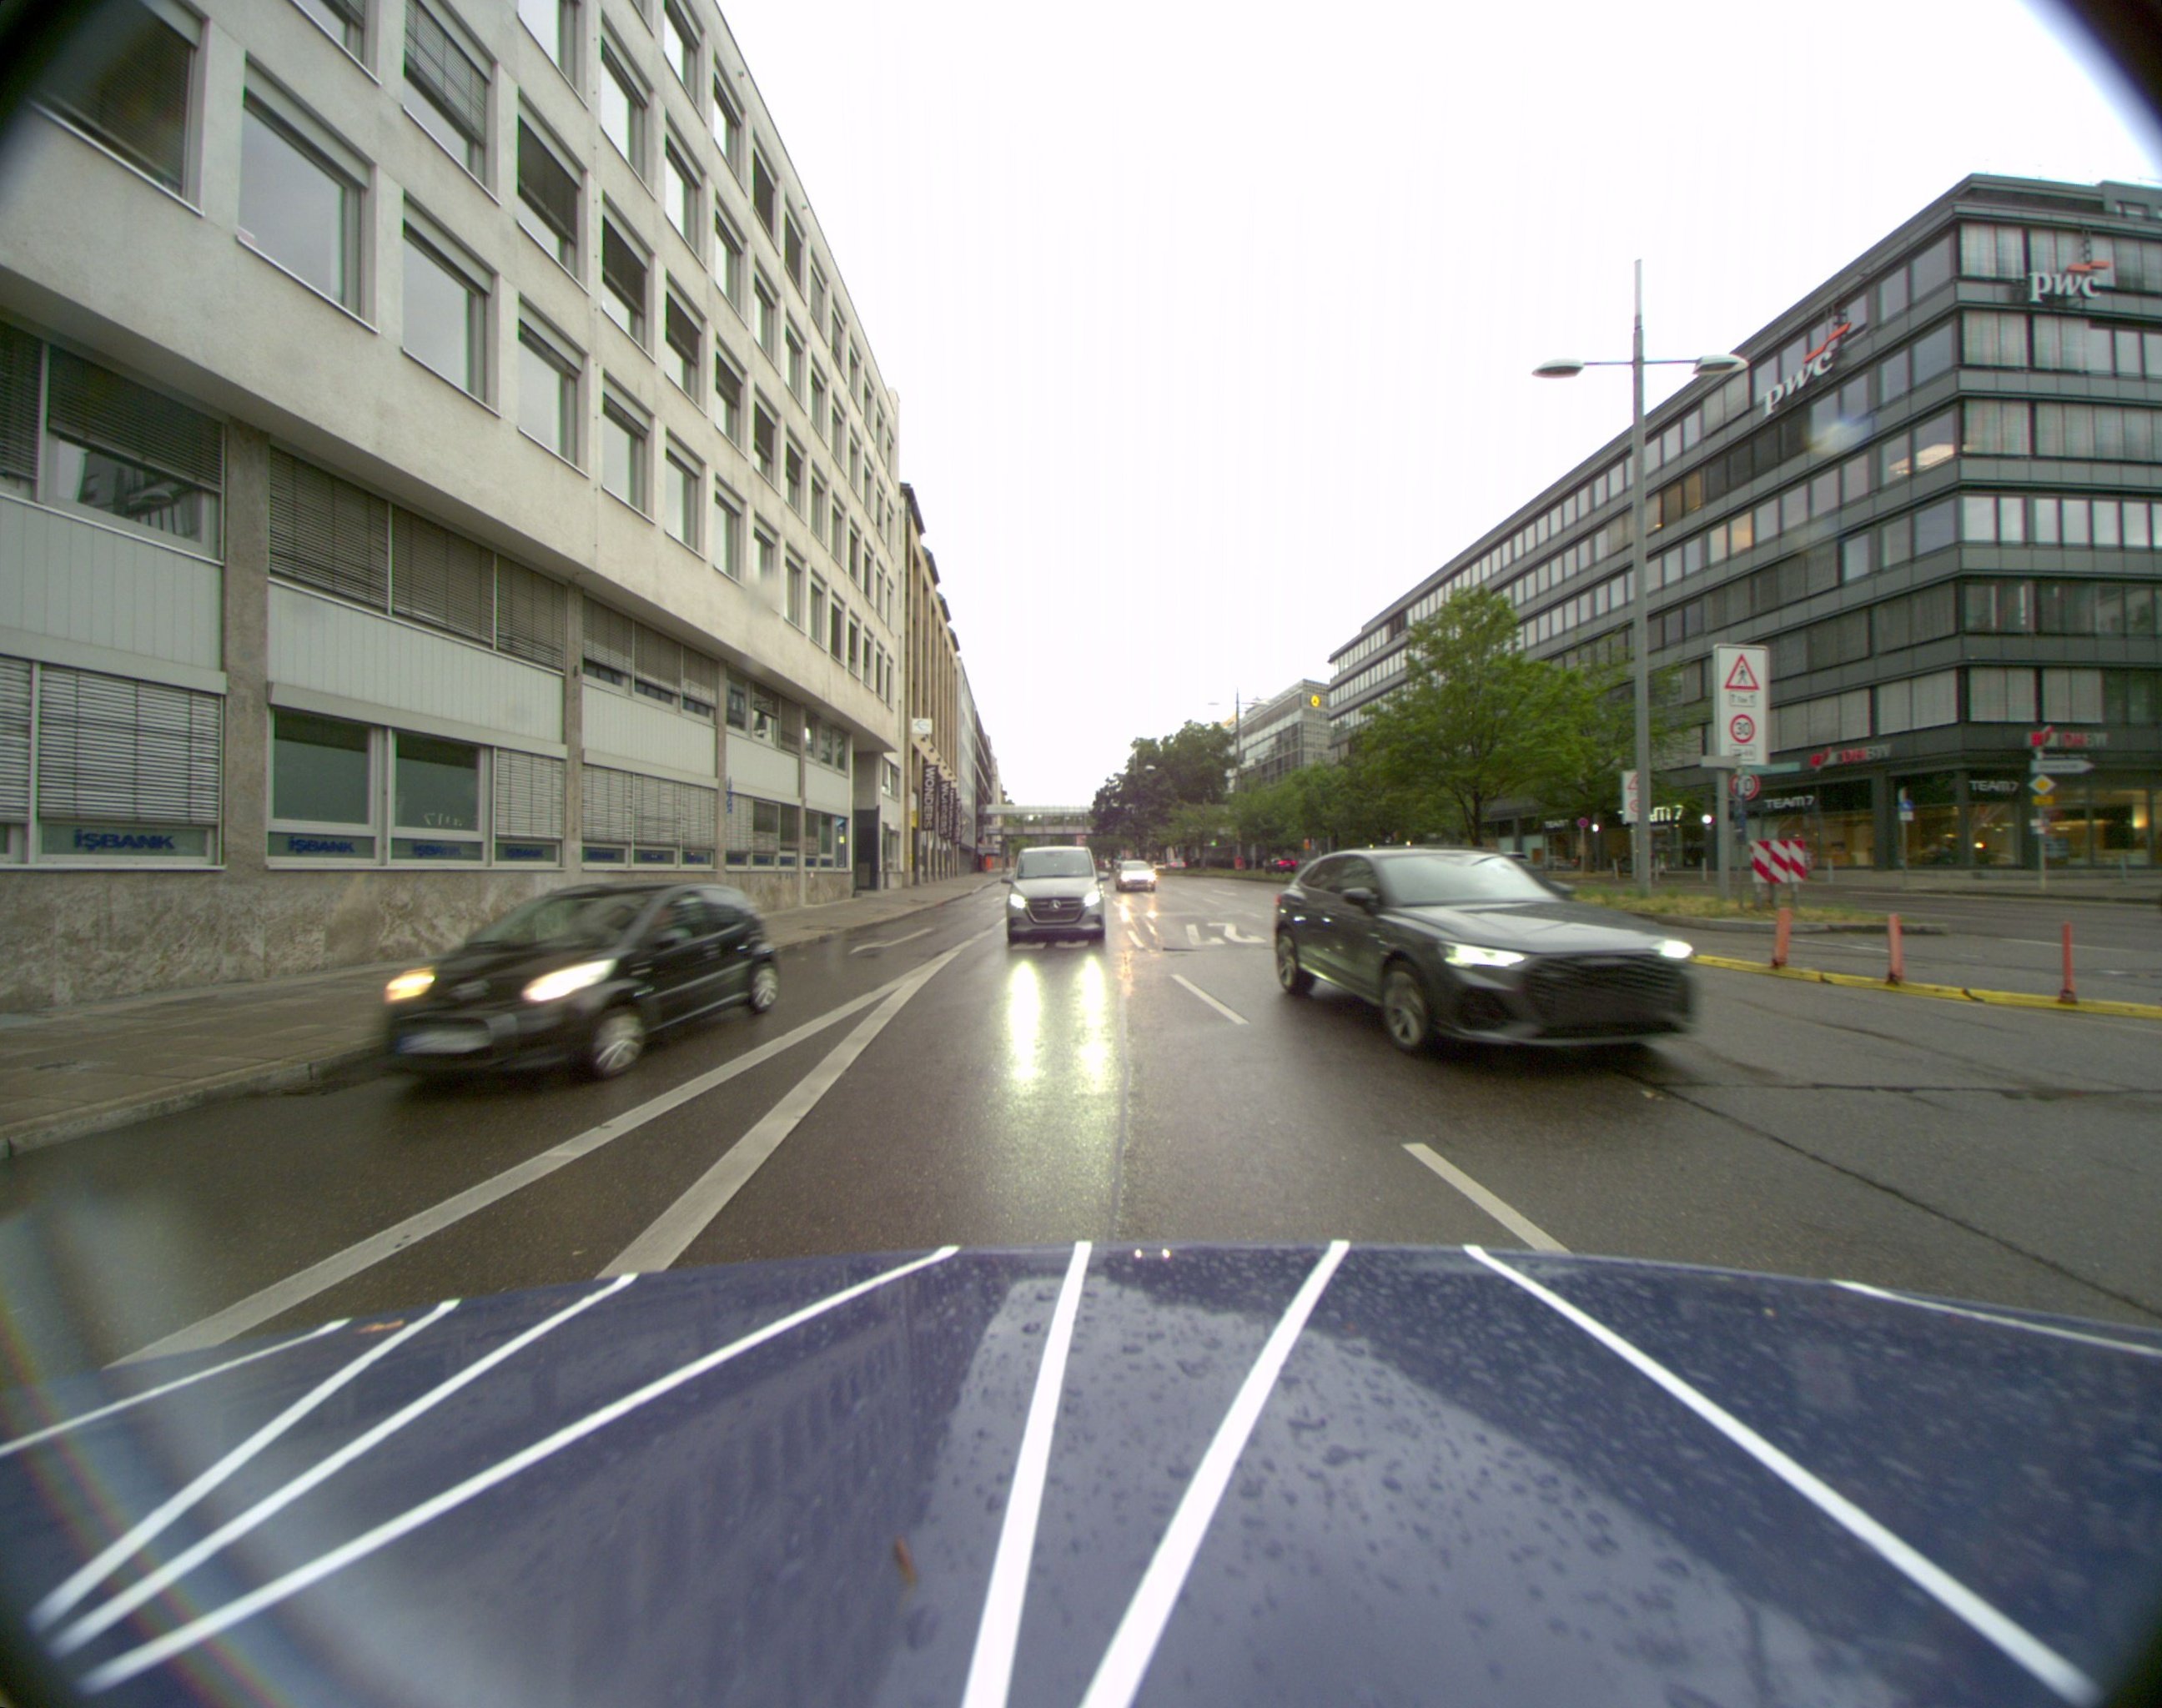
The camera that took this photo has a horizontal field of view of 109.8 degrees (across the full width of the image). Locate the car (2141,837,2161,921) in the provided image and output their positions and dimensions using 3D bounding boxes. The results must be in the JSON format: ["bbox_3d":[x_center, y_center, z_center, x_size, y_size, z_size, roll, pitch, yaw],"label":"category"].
[{"bbox_3d":[20.066,0.462,12.587,1.784,1.564,3.699,-1,0,35],"label":"car"}]

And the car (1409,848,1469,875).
[{"bbox_3d":[23.695,0.473,50.467,1.813,1.651,4.309,-2,0,-2],"label":"car"}]

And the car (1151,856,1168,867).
[{"bbox_3d":[11.283,1.090,109.590,1.687,1.423,4.081,-1,0,-5],"label":"car"}]

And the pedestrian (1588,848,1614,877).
[{"bbox_3d":[29.725,0.475,43.468,0.786,1.628,0.965,-1,0,-4],"label":"pedestrian"}]

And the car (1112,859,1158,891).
[{"bbox_3d":[2.599,0.988,37.139,1.853,1.434,3.869,-1,0,-2],"label":"car"}]

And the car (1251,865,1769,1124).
[{"bbox_3d":[3.018,0.850,6.609,1.941,1.426,4.287,-1,0,-2],"label":"car"}]

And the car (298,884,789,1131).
[{"bbox_3d":[-4.183,1.076,6.689,1.666,1.464,3.485,-1,0,4],"label":"car"}]

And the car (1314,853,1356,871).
[{"bbox_3d":[22.317,0.676,66.950,1.814,1.436,4.307,-2,0,-7],"label":"car"}]

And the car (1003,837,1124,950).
[{"bbox_3d":[-0.466,0.735,16.437,2.163,2.014,5.040,-1,0,-4],"label":"car"}]

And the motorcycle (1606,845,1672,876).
[{"bbox_3d":[26.983,0.327,36.786,0.861,1.386,2.364,-5,2,-30],"label":"motorcycle"}]

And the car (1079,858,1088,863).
[{"bbox_3d":[0.562,1.521,182.118,1.733,1.303,4.075,-2,0,-7],"label":"car"}]

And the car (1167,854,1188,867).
[{"bbox_3d":[12.725,0.843,100.242,1.742,1.718,4.491,-2,0,-6],"label":"car"}]

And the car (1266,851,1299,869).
[{"bbox_3d":[18.621,0.525,70.540,1.998,1.535,4.483,-1,0,2],"label":"car"}]

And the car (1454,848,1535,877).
[{"bbox_3d":[24.030,0.477,44.333,1.814,1.476,4.771,-4,0,-3],"label":"car"}]
